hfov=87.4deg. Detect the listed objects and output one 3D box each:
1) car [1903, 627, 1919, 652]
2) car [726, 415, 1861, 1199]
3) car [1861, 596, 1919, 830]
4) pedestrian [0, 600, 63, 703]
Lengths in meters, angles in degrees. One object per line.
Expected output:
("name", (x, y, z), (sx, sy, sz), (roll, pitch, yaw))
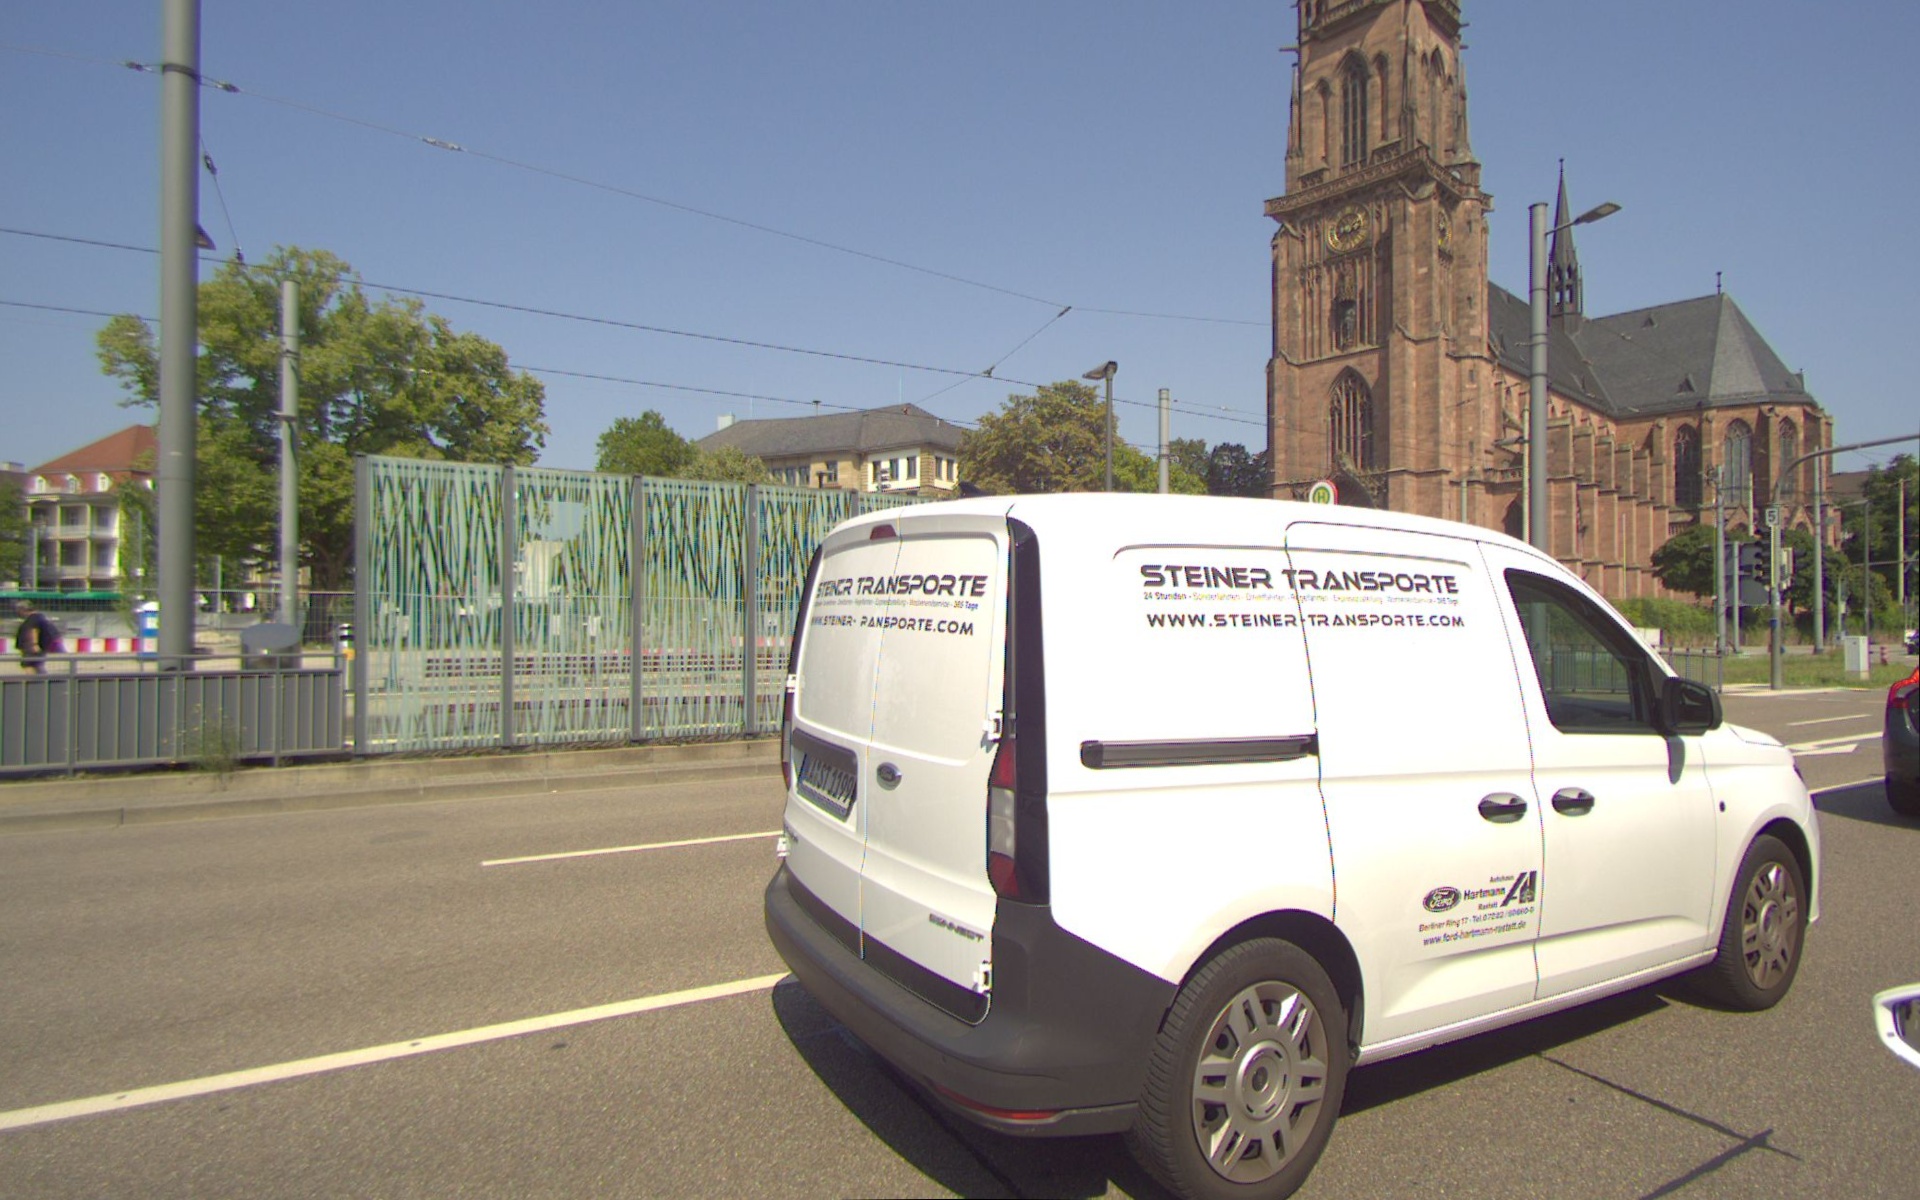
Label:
("car", (57.699, 2.343, 59.831), (4.537, 1.454, 1.731), (1, -3, -41))
("car", (1.430, 0.594, 3.784), (4.189, 1.844, 1.739), (1, 0, -30))
("car", (8.802, 0.819, 7.615), (4.258, 1.636, 1.739), (1, 0, -31))
("pedestrian", (-16.751, 0.914, 18.072), (0.752, 1.811, 0.740), (1, -1, -30))
